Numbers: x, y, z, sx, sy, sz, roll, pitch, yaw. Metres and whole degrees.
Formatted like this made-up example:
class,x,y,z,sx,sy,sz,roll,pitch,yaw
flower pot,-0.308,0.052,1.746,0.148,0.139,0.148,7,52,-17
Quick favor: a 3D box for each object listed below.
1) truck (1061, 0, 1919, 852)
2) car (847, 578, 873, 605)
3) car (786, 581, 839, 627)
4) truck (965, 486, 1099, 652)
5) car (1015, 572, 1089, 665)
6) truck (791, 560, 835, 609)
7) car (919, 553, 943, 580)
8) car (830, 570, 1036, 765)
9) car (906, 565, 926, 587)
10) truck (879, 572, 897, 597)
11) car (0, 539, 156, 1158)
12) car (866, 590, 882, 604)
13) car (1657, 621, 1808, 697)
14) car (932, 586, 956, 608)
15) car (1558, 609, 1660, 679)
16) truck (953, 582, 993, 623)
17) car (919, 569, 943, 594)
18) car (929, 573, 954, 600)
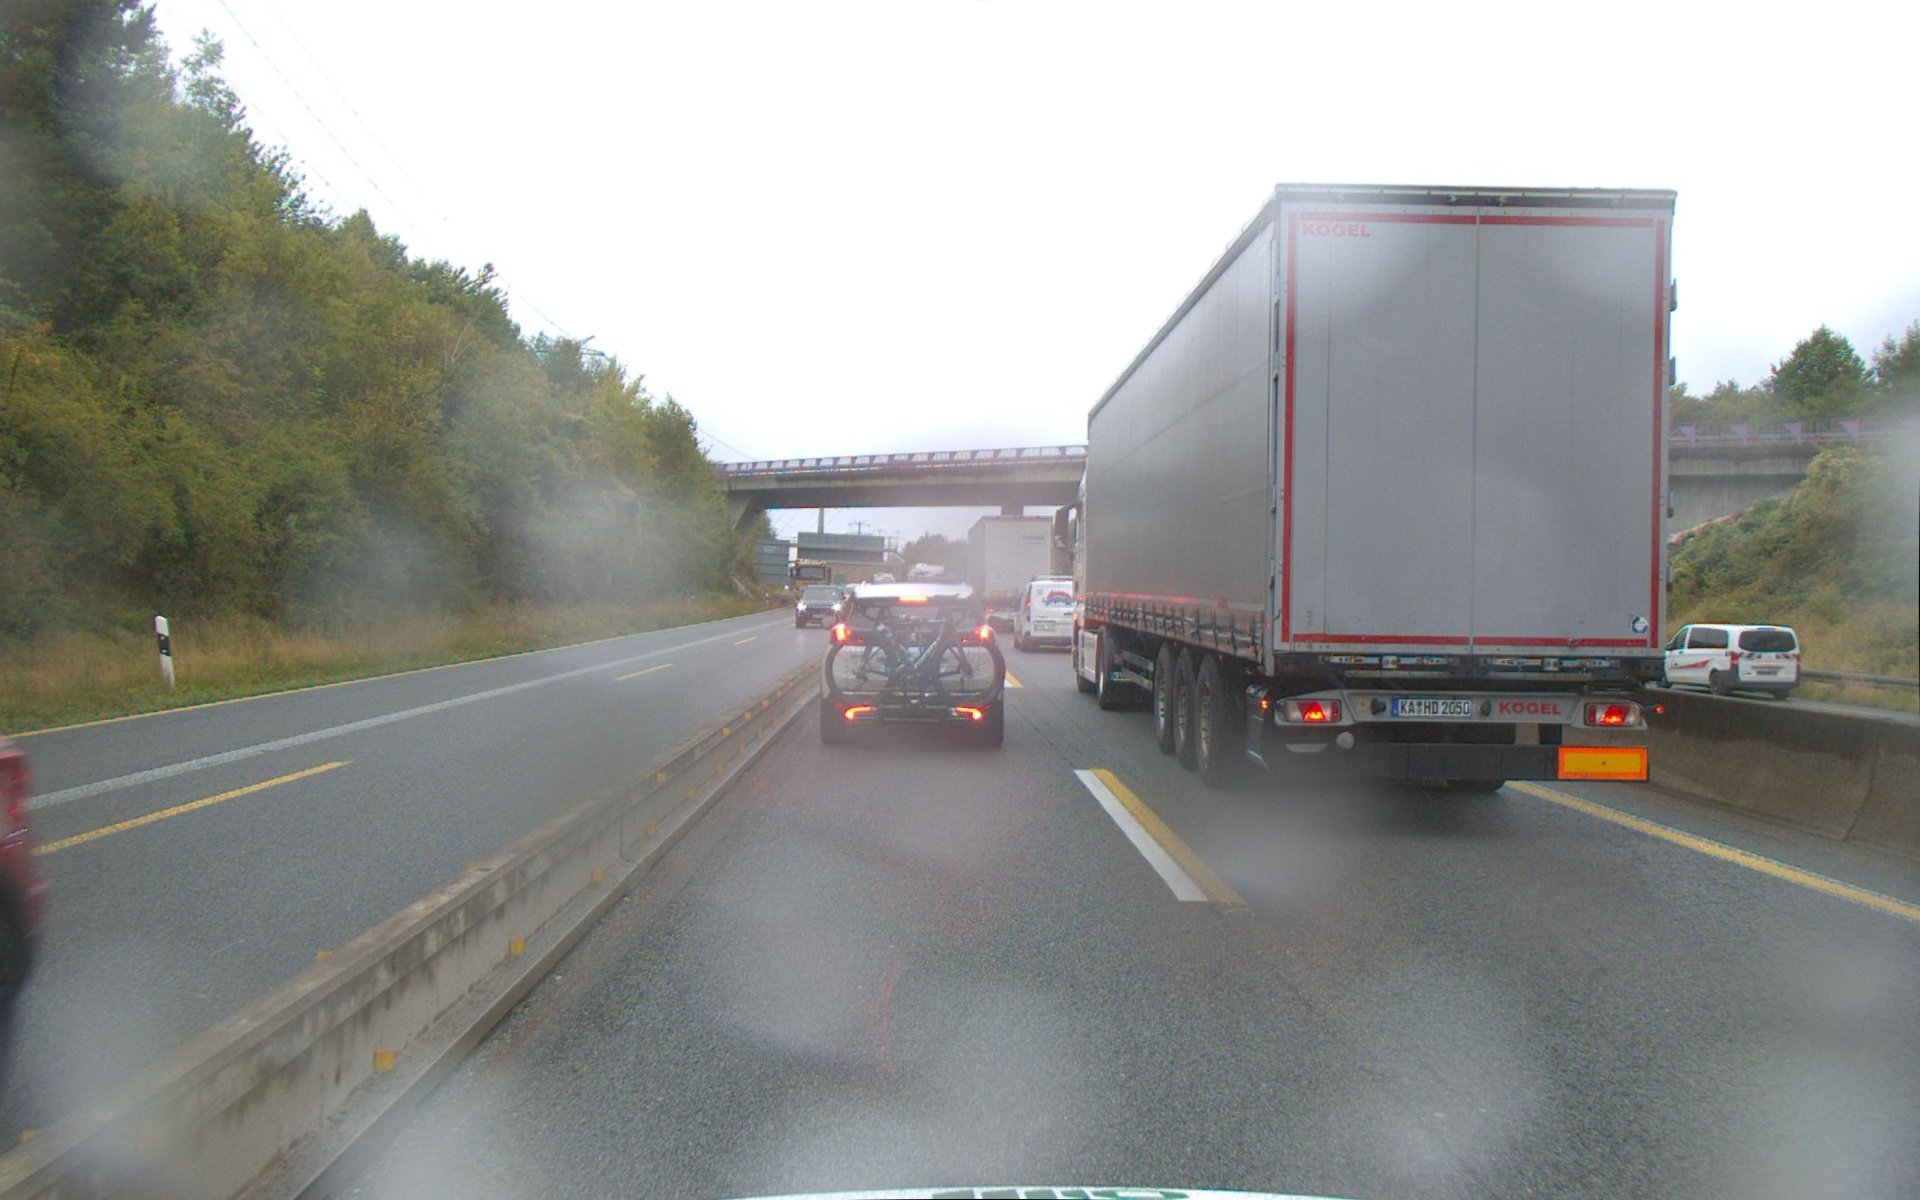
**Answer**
class,x,y,z,sx,sy,sz,roll,pitch,yaw
truck,3.784,-1.443,19.792,3.898,5.772,20.375,1,0,0
car,-6.937,-0.589,115.083,1.774,1.856,4.633,1,0,-3
car,-5.616,0.148,63.455,1.773,1.661,4.116,1,0,-2
truck,2.558,-1.073,68.227,4.646,5.772,20.375,1,0,0
car,2.298,0.450,42.434,1.636,2.218,4.534,1,0,0
truck,-10.851,-1.097,122.879,2.484,3.411,12.045,1,0,-2
car,-2.675,-3.112,155.066,2.194,2.347,4.571,1,0,-1
car,-0.226,0.588,16.681,1.773,1.666,4.635,1,0,0
car,-4.454,-2.431,168.113,1.953,2.164,4.526,1,0,-1
truck,-10.566,-2.247,244.027,2.484,3.411,12.045,1,0,-2
car,-3.306,0.624,3.013,1.758,1.583,3.999,1,0,-1
car,-8.734,-0.328,168.290,1.652,1.434,3.928,1,0,-3
car,20.690,1.526,44.522,1.902,1.861,4.727,1,0,1
car,-1.110,-0.221,115.478,1.605,1.524,3.665,1,0,-1
car,20.513,1.349,52.436,1.693,2.094,4.124,1,0,1
truck,0.657,0.125,85.705,1.953,2.049,3.999,1,0,-1
car,-2.492,-1.562,142.204,1.953,2.049,3.999,1,0,-1
car,-1.456,-1.019,129.493,1.953,2.049,3.999,1,0,-1
